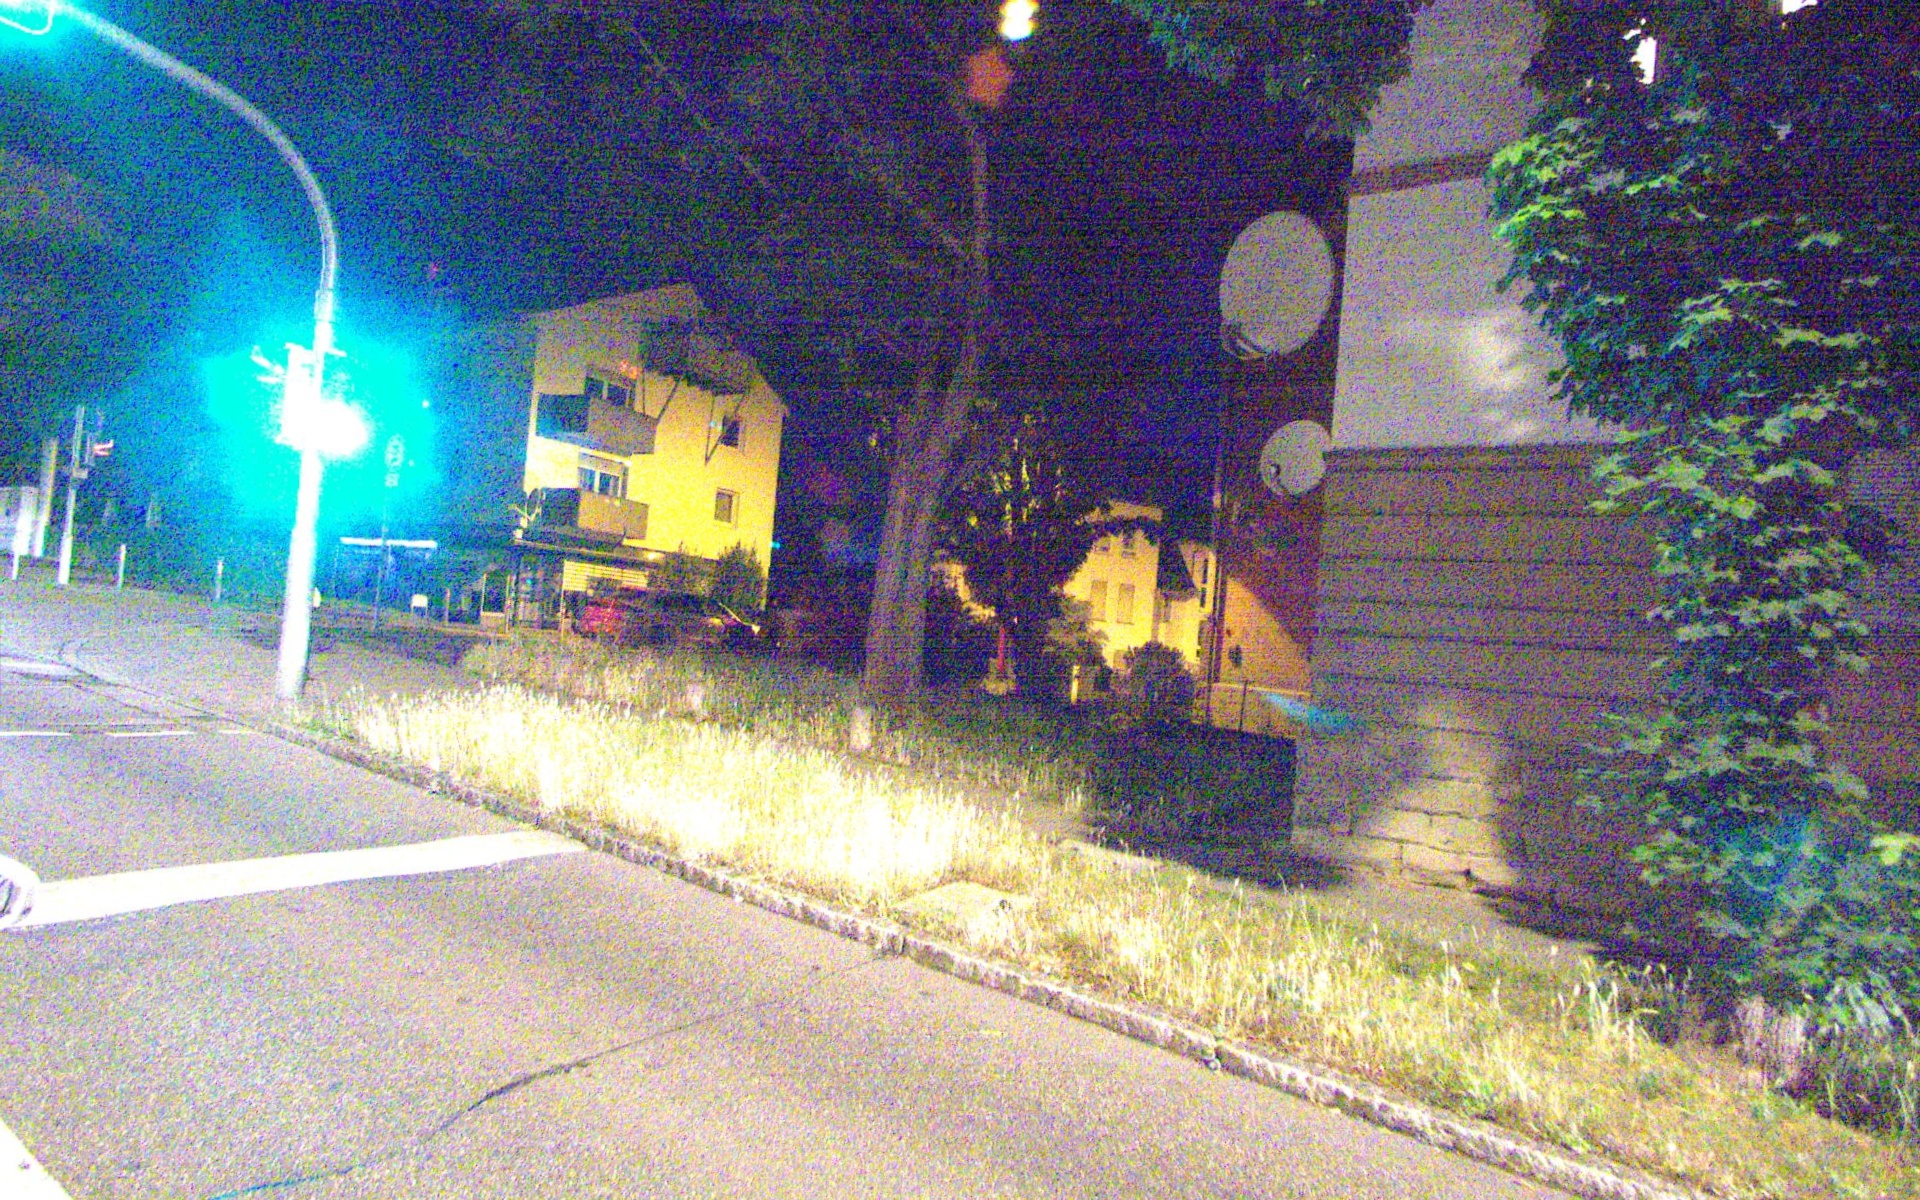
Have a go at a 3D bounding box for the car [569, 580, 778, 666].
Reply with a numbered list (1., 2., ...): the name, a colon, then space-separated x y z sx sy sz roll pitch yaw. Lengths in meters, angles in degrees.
1. car: -6.504 0.582 23.289 1.778 1.577 4.366 3 -3 38
